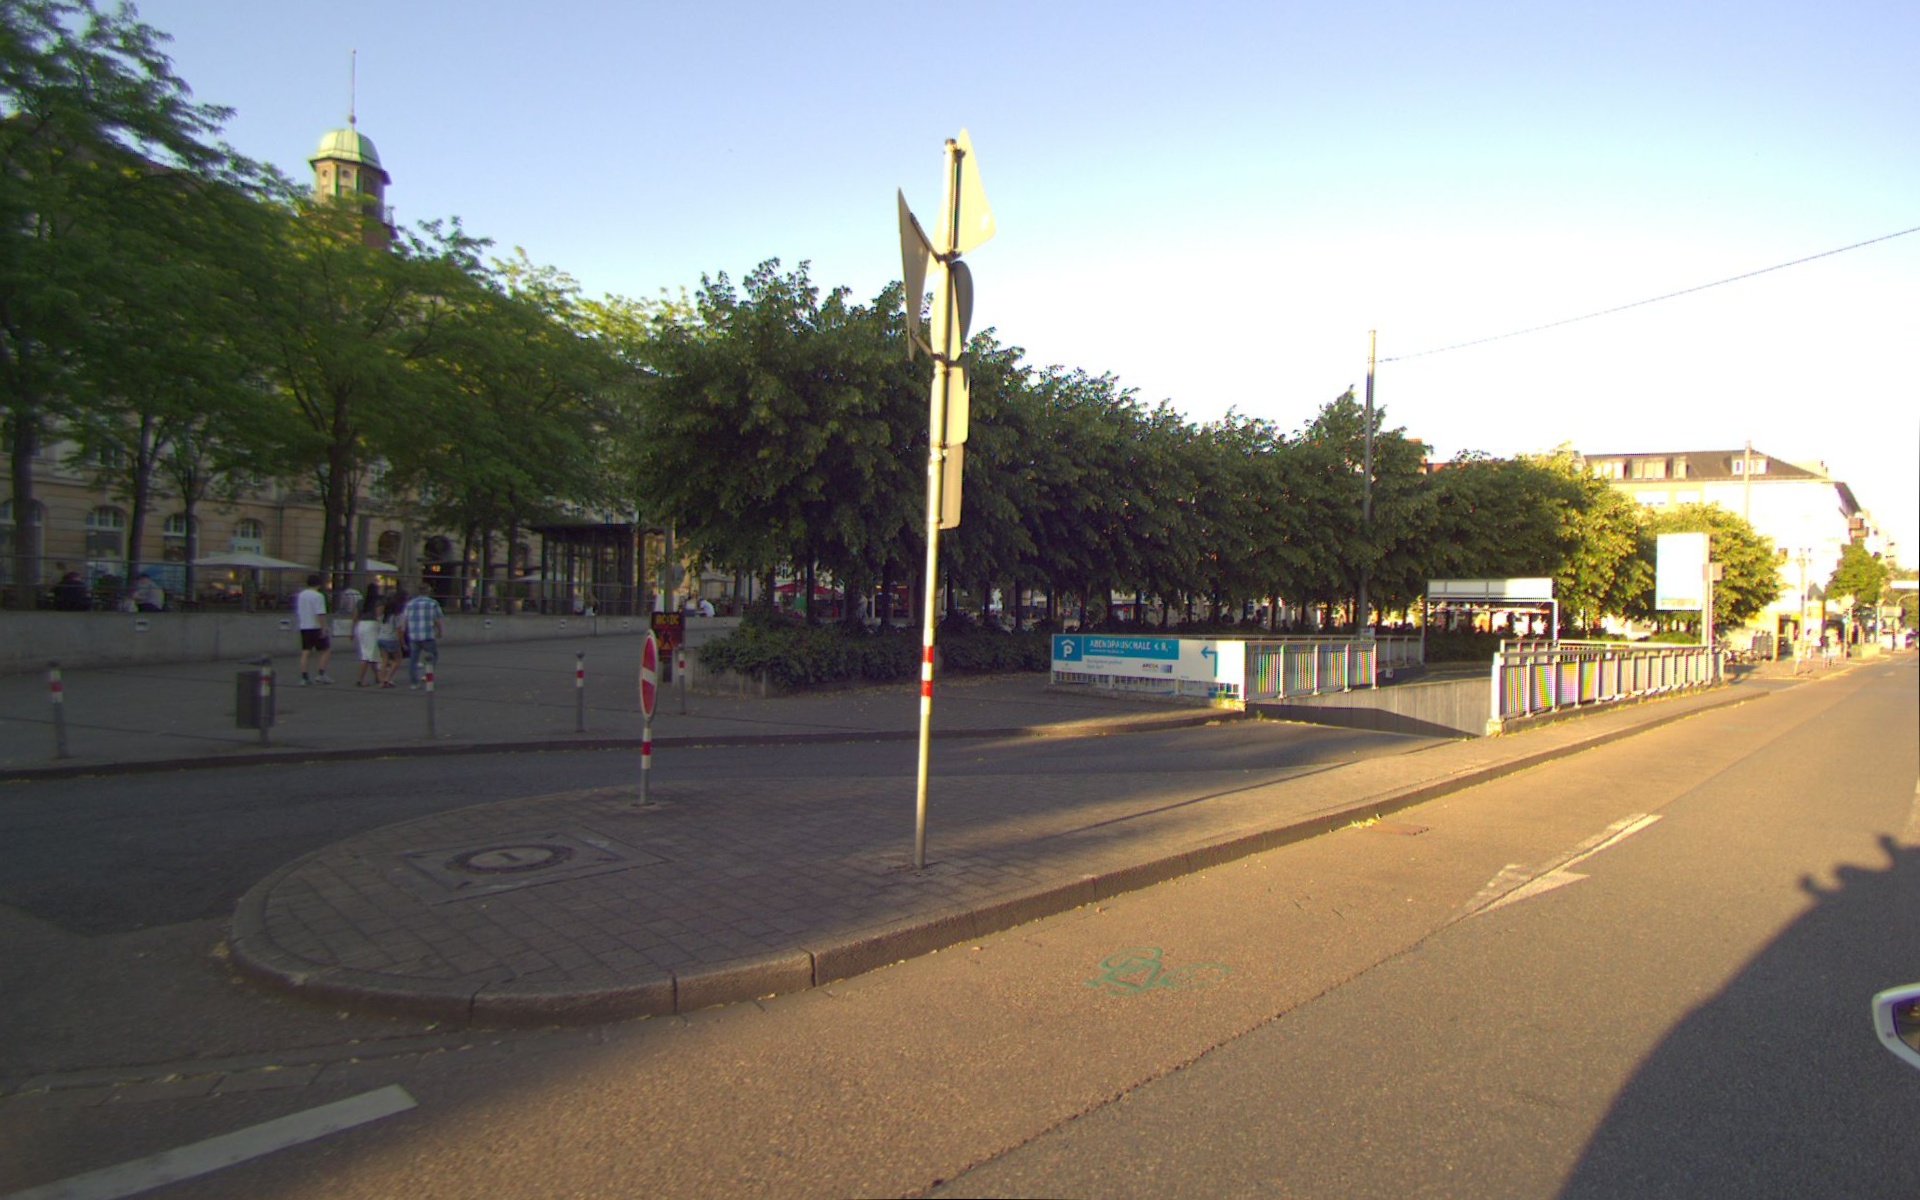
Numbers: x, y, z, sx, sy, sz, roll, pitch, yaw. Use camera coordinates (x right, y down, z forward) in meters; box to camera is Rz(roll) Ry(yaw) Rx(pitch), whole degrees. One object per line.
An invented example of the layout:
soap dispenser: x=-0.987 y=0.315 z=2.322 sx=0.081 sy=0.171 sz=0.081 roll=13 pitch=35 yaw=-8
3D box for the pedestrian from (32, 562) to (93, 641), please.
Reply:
pedestrian: x=-23.798 y=0.033 z=26.635 sx=1.045 sy=2.040 sz=0.832 roll=2 pitch=0 yaw=24

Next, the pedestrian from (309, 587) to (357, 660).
pedestrian: x=-15.375 y=0.565 z=24.627 sx=0.788 sy=1.750 sz=0.623 roll=1 pitch=0 yaw=20

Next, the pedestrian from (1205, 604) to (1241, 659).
pedestrian: x=9.917 y=1.187 z=37.860 sx=0.905 sy=2.040 sz=0.910 roll=2 pitch=0 yaw=-22

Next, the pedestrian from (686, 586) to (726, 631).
pedestrian: x=-9.752 y=0.327 z=38.561 sx=1.242 sy=1.669 sz=0.708 roll=1 pitch=0 yaw=18

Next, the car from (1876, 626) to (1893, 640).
car: x=149.212 y=5.315 z=162.062 sx=3.651 sy=2.040 sz=1.810 roll=2 pitch=0 yaw=-44

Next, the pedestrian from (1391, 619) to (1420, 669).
pedestrian: x=17.880 y=1.751 z=40.321 sx=0.722 sy=1.974 sz=0.798 roll=1 pitch=0 yaw=-32

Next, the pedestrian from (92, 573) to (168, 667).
pedestrian: x=-16.810 y=0.398 z=20.346 sx=1.100 sy=1.843 sz=0.703 roll=1 pitch=0 yaw=20

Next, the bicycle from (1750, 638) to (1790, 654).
bicycle: x=61.392 y=3.460 z=76.139 sx=0.794 sy=1.146 sz=2.301 roll=2 pitch=-1 yaw=-43

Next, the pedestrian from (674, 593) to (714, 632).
pedestrian: x=-10.019 y=0.468 z=37.861 sx=1.242 sy=1.398 sz=0.738 roll=1 pitch=0 yaw=17

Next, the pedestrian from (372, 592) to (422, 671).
pedestrian: x=-11.307 y=0.625 z=20.186 sx=0.666 sy=1.563 sz=0.593 roll=1 pitch=1 yaw=5

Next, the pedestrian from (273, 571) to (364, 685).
pedestrian: x=-10.822 y=0.458 z=16.972 sx=0.966 sy=1.878 sz=0.889 roll=1 pitch=1 yaw=-3

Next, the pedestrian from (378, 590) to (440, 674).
pedestrian: x=-10.781 y=0.613 z=19.679 sx=0.783 sy=1.603 sz=0.731 roll=0 pitch=1 yaw=7

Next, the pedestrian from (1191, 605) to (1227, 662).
pedestrian: x=9.143 y=1.211 z=36.913 sx=0.905 sy=2.040 sz=0.910 roll=2 pitch=0 yaw=-22

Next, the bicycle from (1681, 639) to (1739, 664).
bicycle: x=34.410 y=2.350 z=46.113 sx=2.021 sy=0.984 sz=0.632 roll=4 pitch=2 yaw=44

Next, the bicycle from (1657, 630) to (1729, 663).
bicycle: x=32.314 y=2.048 z=44.315 sx=0.804 sy=1.301 sz=2.496 roll=2 pitch=0 yaw=-24

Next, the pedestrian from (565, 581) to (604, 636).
pedestrian: x=-12.109 y=0.270 z=32.412 sx=0.902 sy=1.750 sz=0.703 roll=1 pitch=0 yaw=20

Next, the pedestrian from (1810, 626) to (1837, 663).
pedestrian: x=41.608 y=2.143 z=48.406 sx=0.870 sy=1.743 sz=0.713 roll=2 pitch=0 yaw=34

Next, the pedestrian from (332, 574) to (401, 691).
pedestrian: x=-9.979 y=0.525 z=16.897 sx=0.767 sy=1.900 sz=0.713 roll=1 pitch=1 yaw=28

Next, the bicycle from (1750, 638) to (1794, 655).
bicycle: x=60.125 y=3.413 z=74.405 sx=2.496 sy=1.161 sz=0.697 roll=1 pitch=-1 yaw=43

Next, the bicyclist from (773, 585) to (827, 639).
bicyclist: x=-4.702 y=0.353 z=29.553 sx=1.355 sy=1.529 sz=0.753 roll=1 pitch=0 yaw=22

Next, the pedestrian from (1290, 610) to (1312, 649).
pedestrian: x=17.620 y=1.532 z=51.868 sx=0.724 sy=1.974 sz=0.796 roll=1 pitch=0 yaw=-37

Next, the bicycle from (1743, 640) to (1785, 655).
bicycle: x=56.813 y=3.372 z=70.985 sx=2.302 sy=0.931 sz=0.697 roll=1 pitch=-1 yaw=43

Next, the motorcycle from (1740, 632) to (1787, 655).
motorcycle: x=54.827 y=2.966 z=68.550 sx=2.388 sy=1.445 sz=1.106 roll=1 pitch=-1 yaw=45

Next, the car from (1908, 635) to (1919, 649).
car: x=111.648 y=4.875 z=116.821 sx=3.973 sy=1.617 sz=1.875 roll=2 pitch=0 yaw=-44

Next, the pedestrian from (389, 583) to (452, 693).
pedestrian: x=-8.884 y=0.610 z=16.562 sx=0.703 sy=1.769 sz=0.686 roll=0 pitch=1 yaw=-8

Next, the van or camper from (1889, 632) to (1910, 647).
van or camper: x=158.253 y=6.649 z=169.232 sx=2.444 sy=2.437 sz=3.980 roll=2 pitch=0 yaw=41

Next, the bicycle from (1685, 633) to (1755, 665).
bicycle: x=33.904 y=2.182 z=44.830 sx=2.405 sy=1.254 sz=0.515 roll=3 pitch=1 yaw=44

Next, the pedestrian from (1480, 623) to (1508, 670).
pedestrian: x=23.070 y=1.988 z=43.398 sx=0.722 sy=1.974 sz=0.798 roll=1 pitch=0 yaw=-32

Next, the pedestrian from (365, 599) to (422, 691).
pedestrian: x=-9.439 y=0.734 z=16.762 sx=0.593 sy=1.506 sz=0.715 roll=0 pitch=1 yaw=-8

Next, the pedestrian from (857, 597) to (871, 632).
pedestrian: x=-5.519 y=0.818 z=57.698 sx=0.716 sy=1.974 sz=0.805 roll=1 pitch=0 yaw=-1

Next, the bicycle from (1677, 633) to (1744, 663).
bicycle: x=34.072 y=2.163 z=45.630 sx=2.405 sy=1.254 sz=0.459 roll=2 pitch=0 yaw=44

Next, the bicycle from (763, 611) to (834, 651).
bicycle: x=-4.703 y=0.897 z=29.472 sx=0.933 sy=1.116 sz=2.328 roll=1 pitch=-1 yaw=23

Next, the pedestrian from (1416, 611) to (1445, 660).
pedestrian: x=19.374 y=1.470 z=41.365 sx=0.722 sy=1.974 sz=0.798 roll=1 pitch=0 yaw=-32

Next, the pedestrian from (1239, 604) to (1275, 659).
pedestrian: x=11.223 y=1.183 z=37.974 sx=0.905 sy=2.040 sz=0.910 roll=2 pitch=0 yaw=-22

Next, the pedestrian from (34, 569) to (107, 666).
pedestrian: x=-17.190 y=0.332 z=19.412 sx=0.782 sy=1.805 sz=0.762 roll=1 pitch=0 yaw=23
